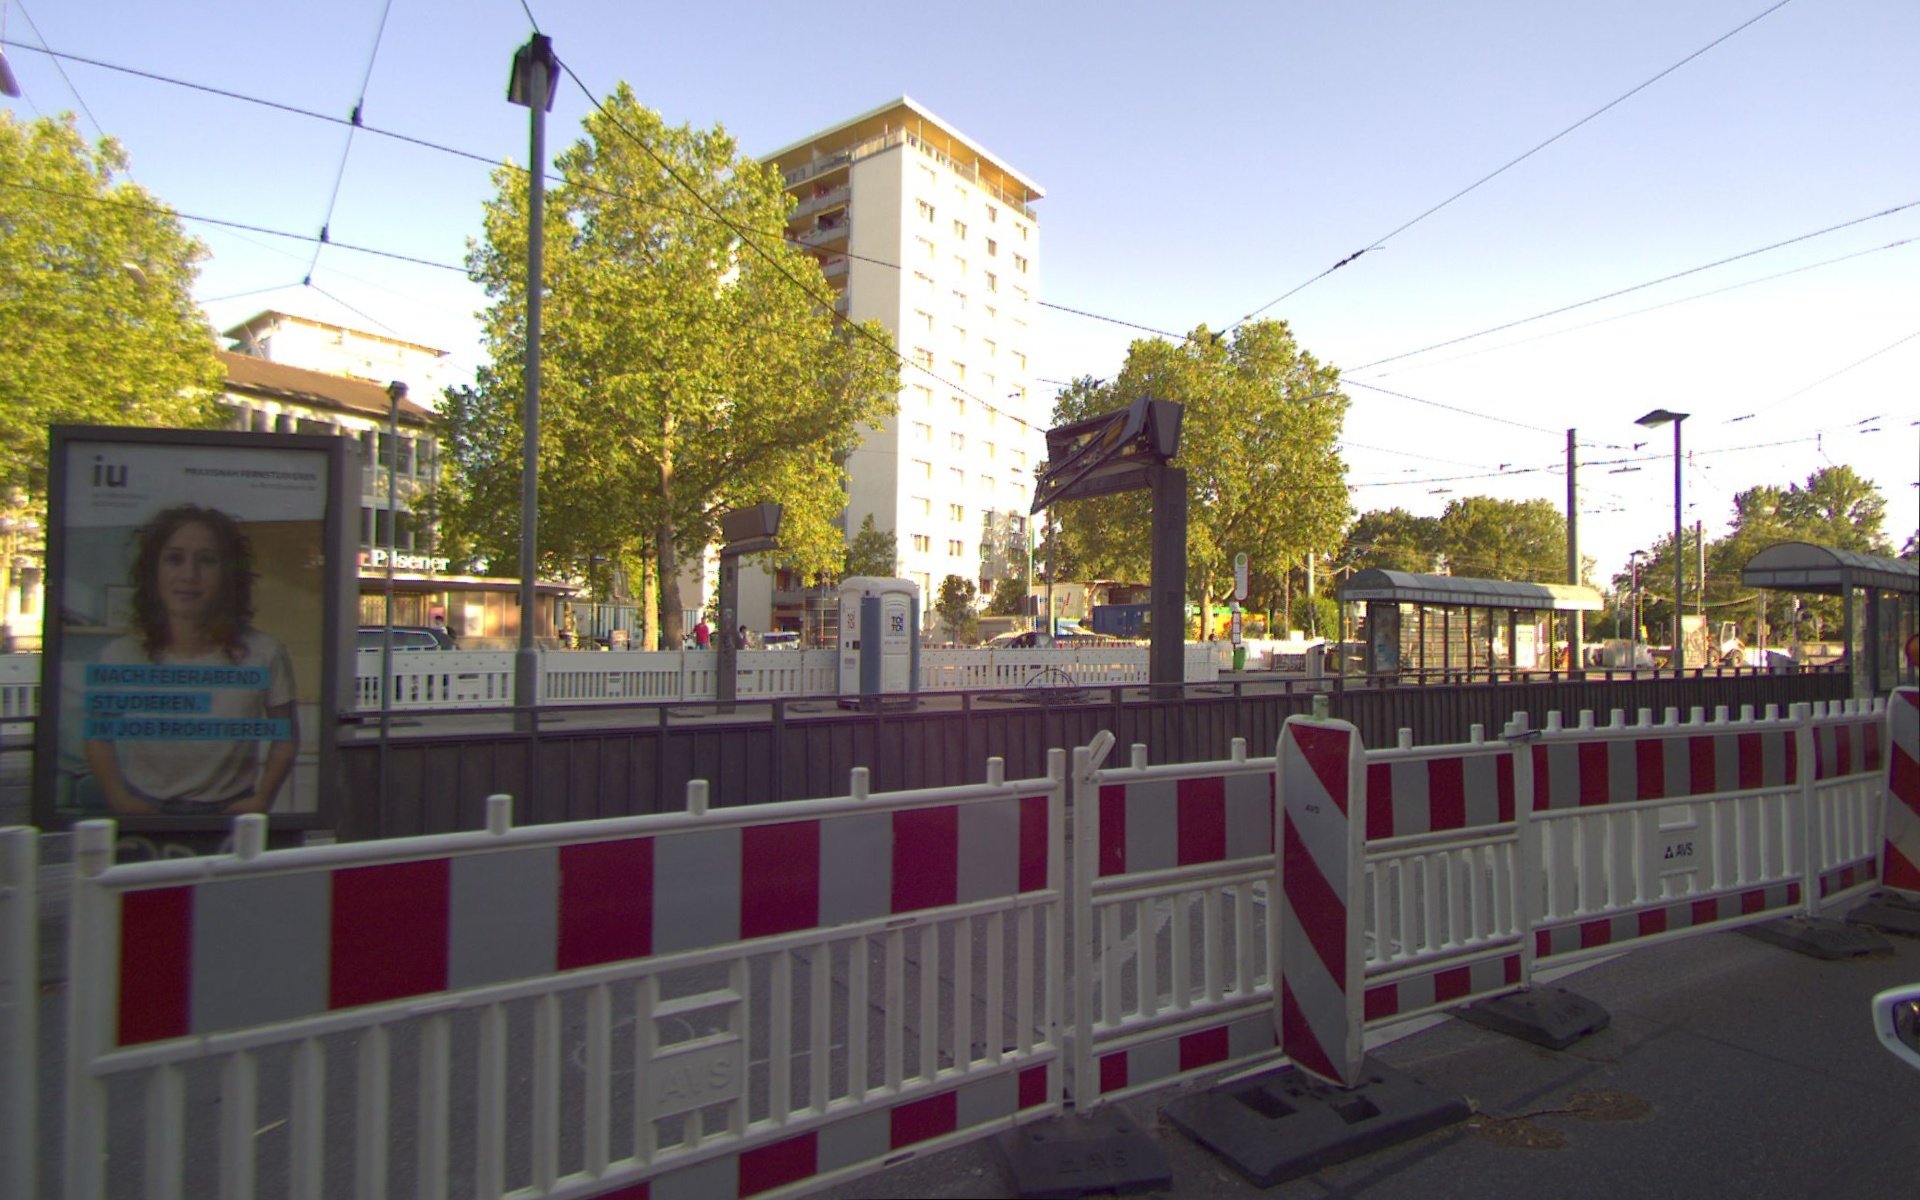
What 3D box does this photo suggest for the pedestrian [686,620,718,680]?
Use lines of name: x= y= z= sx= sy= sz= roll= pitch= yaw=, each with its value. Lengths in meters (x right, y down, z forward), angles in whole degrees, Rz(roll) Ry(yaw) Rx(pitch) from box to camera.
pedestrian: x=-8.912 y=1.722 z=34.683 sx=0.872 sy=2.040 sz=0.881 roll=1 pitch=-2 yaw=-28

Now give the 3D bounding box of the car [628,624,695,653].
car: x=-21.168 y=2.727 z=71.465 sx=1.965 sy=2.040 sz=4.436 roll=-1 pitch=-2 yaw=30

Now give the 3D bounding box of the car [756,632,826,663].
car: x=-11.395 y=3.210 z=68.102 sx=1.965 sy=2.040 sz=4.905 roll=-1 pitch=-2 yaw=30

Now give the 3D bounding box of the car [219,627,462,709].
car: x=-12.537 y=1.317 z=20.433 sx=3.968 sy=1.505 sz=1.977 roll=2 pitch=-2 yaw=-40

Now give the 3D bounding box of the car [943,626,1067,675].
car: x=1.557 y=1.695 z=34.172 sx=3.927 sy=1.586 sz=1.795 roll=2 pitch=-2 yaw=-33

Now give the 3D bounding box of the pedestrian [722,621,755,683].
pedestrian: x=-7.418 y=1.720 z=33.632 sx=0.872 sy=2.040 sz=0.881 roll=1 pitch=-2 yaw=-28

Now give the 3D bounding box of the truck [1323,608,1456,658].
truck: x=35.414 y=2.743 z=83.364 sx=2.869 sy=3.839 sz=10.342 roll=2 pitch=-2 yaw=-32

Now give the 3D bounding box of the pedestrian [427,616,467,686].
pedestrian: x=-15.209 y=1.504 z=29.783 sx=0.880 sy=2.040 sz=0.874 roll=2 pitch=-2 yaw=-39

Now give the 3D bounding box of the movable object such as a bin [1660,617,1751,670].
movable object such as a bin: x=39.357 y=2.307 z=53.026 sx=4.543 sy=2.673 sz=2.142 roll=2 pitch=-2 yaw=-29
